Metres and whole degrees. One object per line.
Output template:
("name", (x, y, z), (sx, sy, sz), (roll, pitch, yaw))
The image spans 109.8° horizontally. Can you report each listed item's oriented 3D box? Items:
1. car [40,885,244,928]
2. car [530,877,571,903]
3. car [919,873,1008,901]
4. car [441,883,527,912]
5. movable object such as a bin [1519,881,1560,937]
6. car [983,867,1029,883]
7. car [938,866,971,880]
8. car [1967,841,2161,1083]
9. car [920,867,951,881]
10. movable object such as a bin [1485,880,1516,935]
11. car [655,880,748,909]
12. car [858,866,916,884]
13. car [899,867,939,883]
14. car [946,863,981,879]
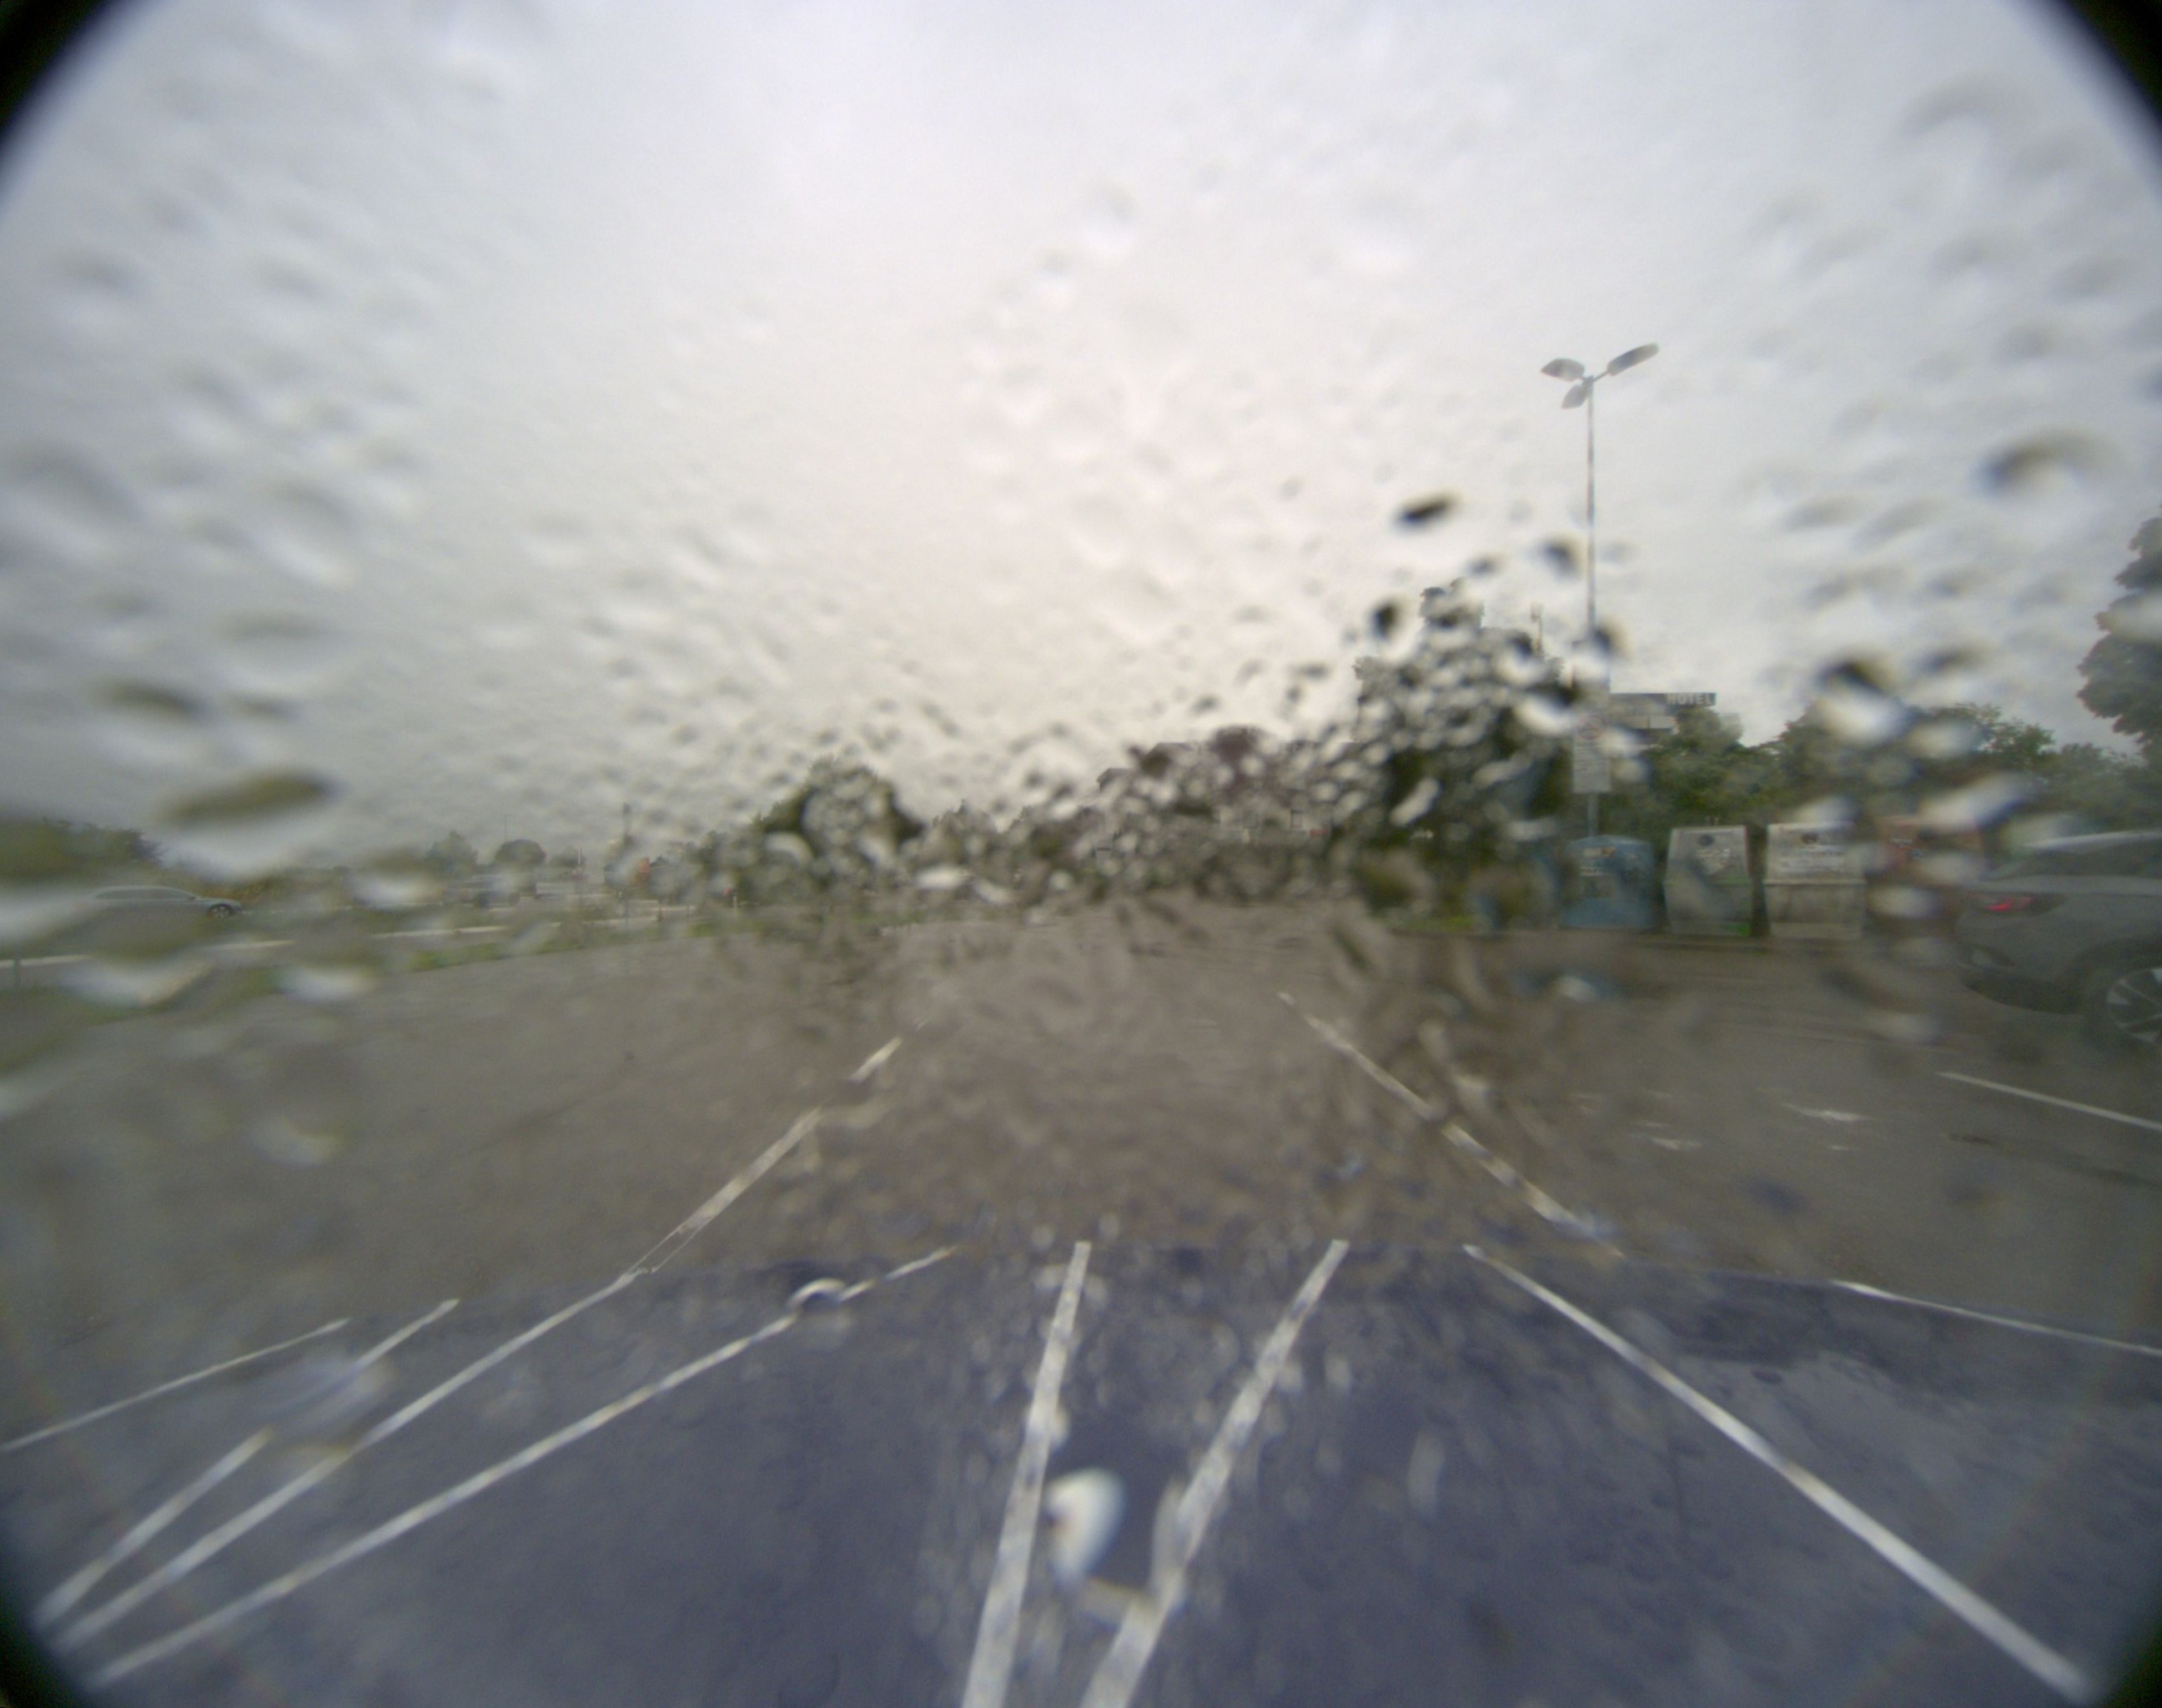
("car", (-36.646, 1.987, 29.837), (1.995, 1.472, 4.672), (0, -1, 26))
("car", (-40.475, 2.725, 57.892), (1.896, 1.674, 4.656), (0, 1, -43))
("car", (-6.308, 1.786, 40.977), (4.322, 1.440, 1.871), (-1, -1, 11))
("car", (-33.466, 2.416, 42.732), (1.756, 1.317, 4.306), (1, 1, -5))
("movable object such as a bin", (7.955, 0.947, 13.188), (0.405, 0.943, 0.450), (-2, 0, 1))
("car", (-7.283, 2.048, 74.482), (4.358, 1.416, 1.850), (-1, -1, -3))
("car", (-15.006, 2.244, 90.086), (3.878, 1.560, 1.753), (-3, -1, 38))
("car", (8.683, 0.665, 4.422), (2.004, 1.565, 4.488), (-1, 0, -38))
("car", (-16.878, 2.302, 88.226), (3.716, 1.540, 1.670), (-3, -1, 43))
("movable object such as a bin", (7.567, 0.961, 13.715), (0.434, 0.943, 0.474), (-2, 0, 25))
("car", (-21.277, 2.243, 42.648), (4.355, 1.416, 1.707), (-2, 0, 4))
("car", (-19.971, 2.156, 78.406), (5.374, 1.711, 2.000), (-2, -1, -2))
("car", (-18.350, 2.395, 86.120), (4.636, 1.541, 2.004), (-3, -1, 41))
("car", (-14.236, 2.062, 92.155), (3.989, 1.717, 1.994), (-3, -1, 37))
